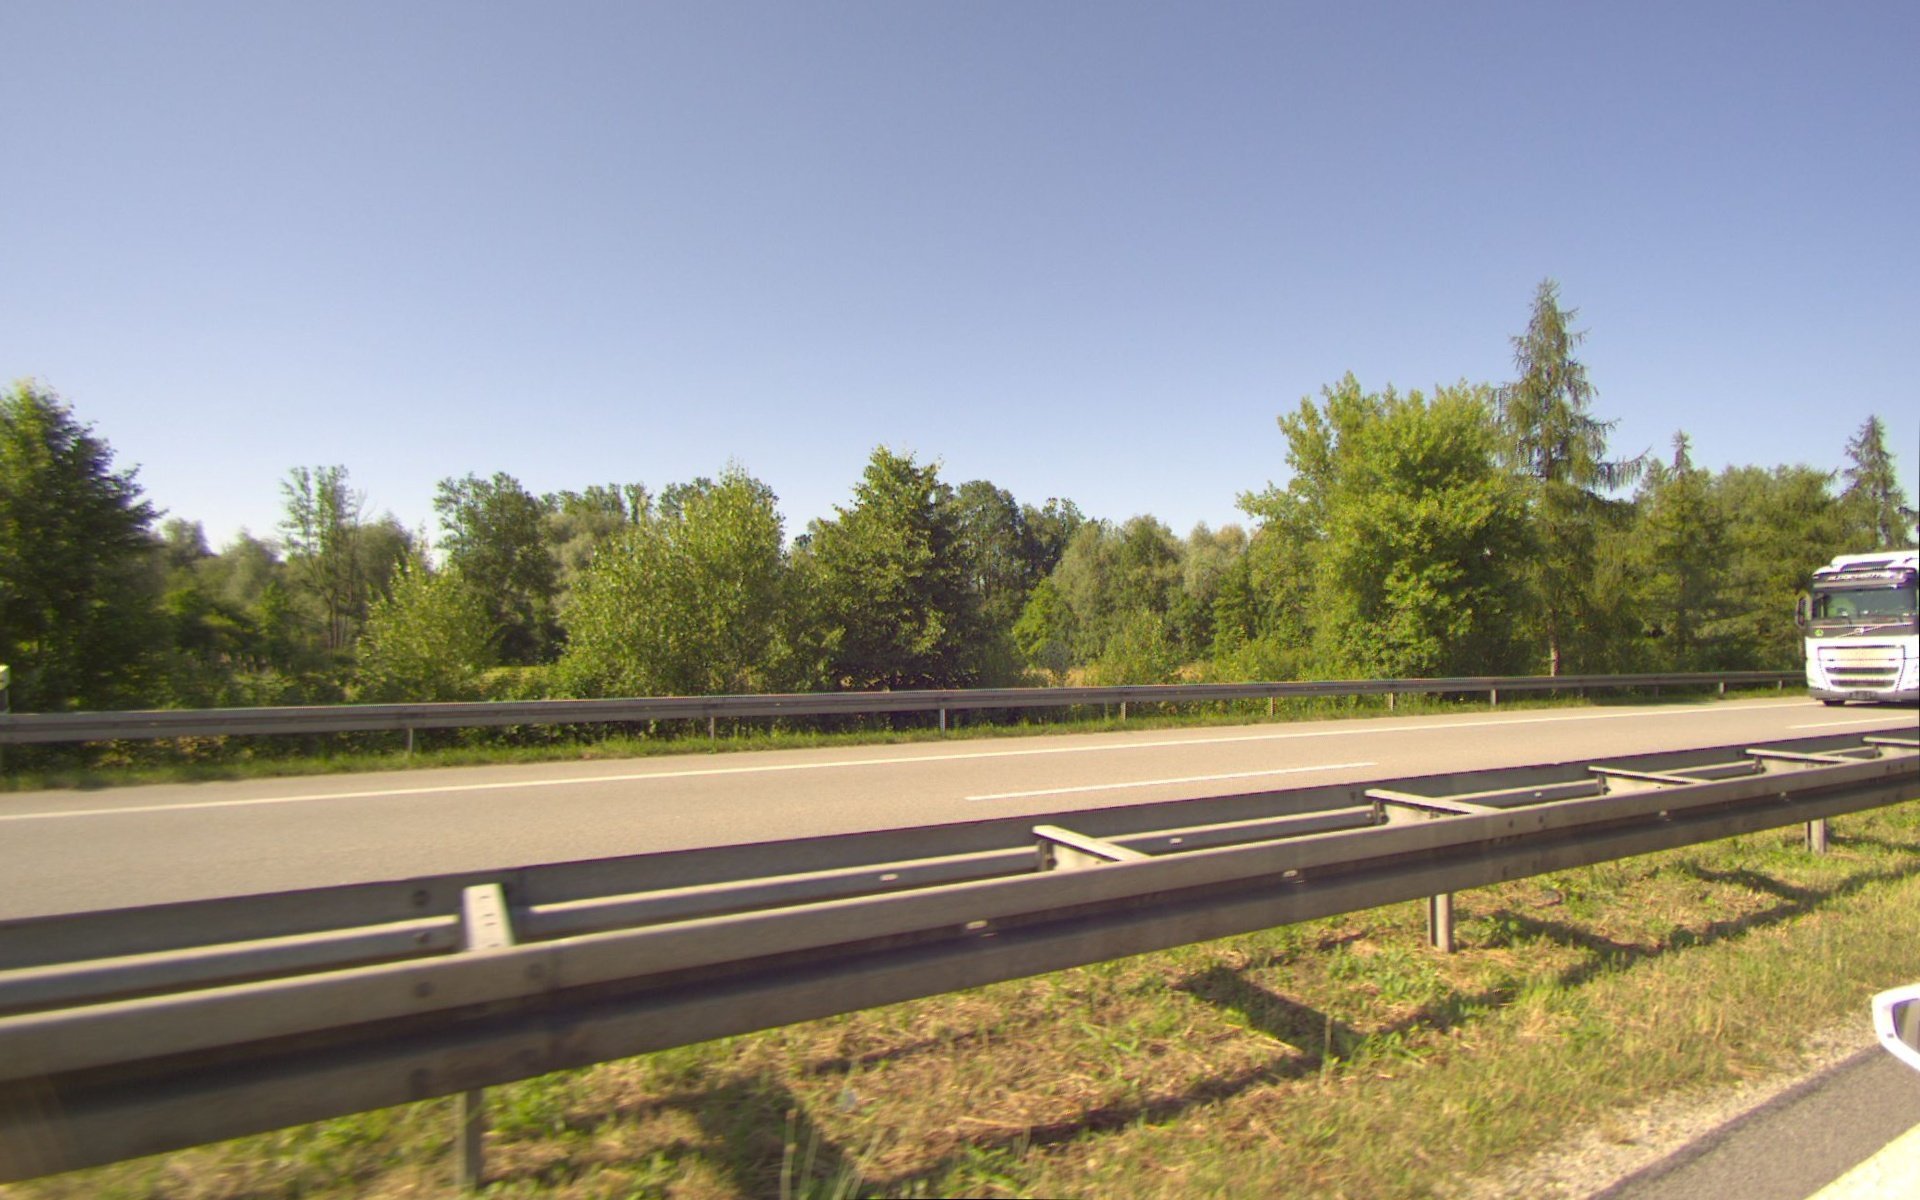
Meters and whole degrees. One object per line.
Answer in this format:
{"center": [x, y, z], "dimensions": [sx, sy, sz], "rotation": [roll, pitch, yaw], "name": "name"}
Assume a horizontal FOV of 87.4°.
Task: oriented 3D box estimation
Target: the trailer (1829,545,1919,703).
{"center": [30.425, 0.788, 29.829], "dimensions": [13.924, 4.060, 2.649], "rotation": [1, -3, -31], "name": "trailer"}

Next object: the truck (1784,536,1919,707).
{"center": [25.241, 0.643, 26.803], "dimensions": [7.108, 4.060, 2.632], "rotation": [1, -3, -30], "name": "truck"}
